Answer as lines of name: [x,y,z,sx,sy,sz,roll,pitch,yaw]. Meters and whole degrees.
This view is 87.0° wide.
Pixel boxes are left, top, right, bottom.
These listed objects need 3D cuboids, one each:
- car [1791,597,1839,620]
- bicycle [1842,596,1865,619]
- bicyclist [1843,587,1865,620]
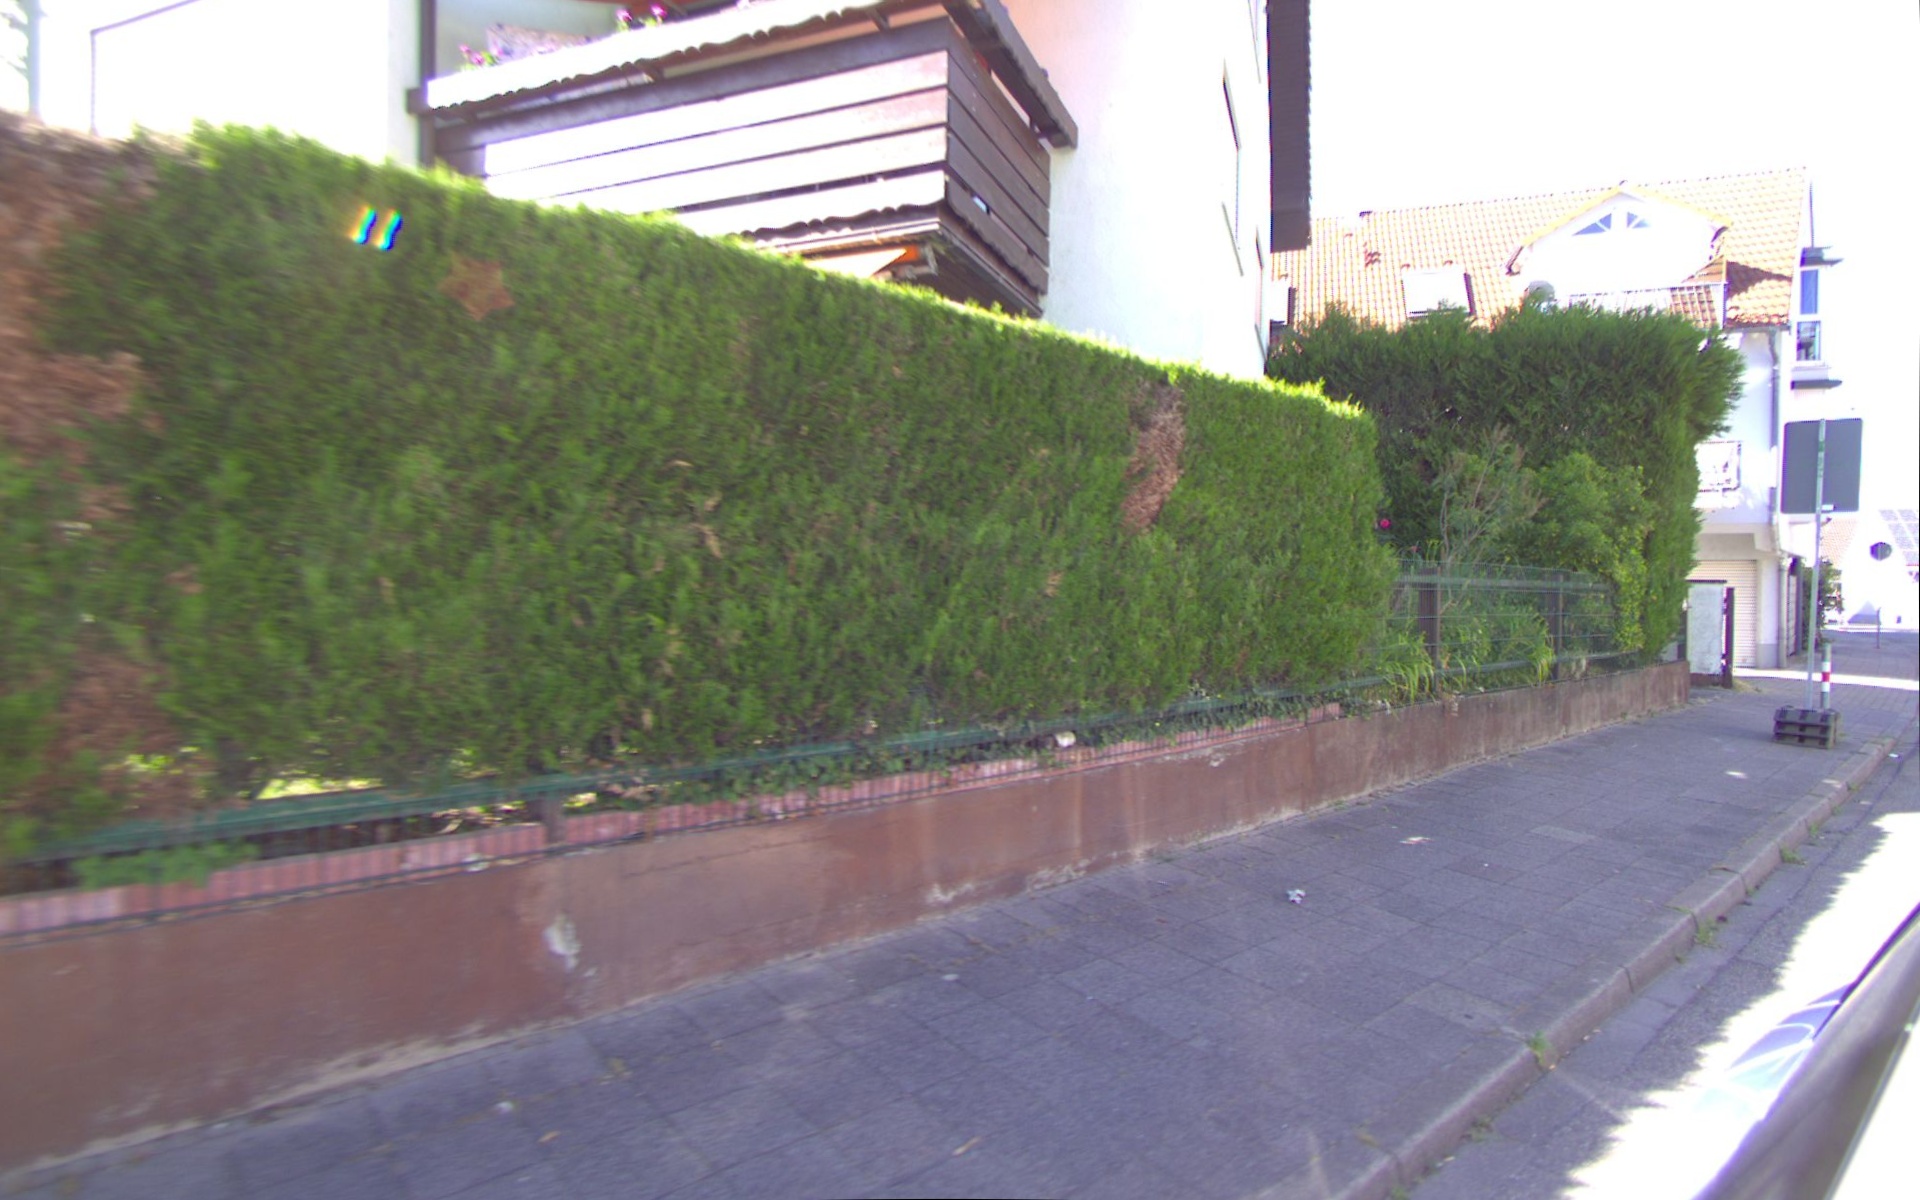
car: [58.705,0.576,69.537,1.530,1.477,3.686,1,1,23]
bicycle: [48.666,0.393,55.108,0.635,1.197,1.997,1,1,33]
bicyclist: [48.632,0.197,55.044,0.640,1.684,0.597,7,6,35]
